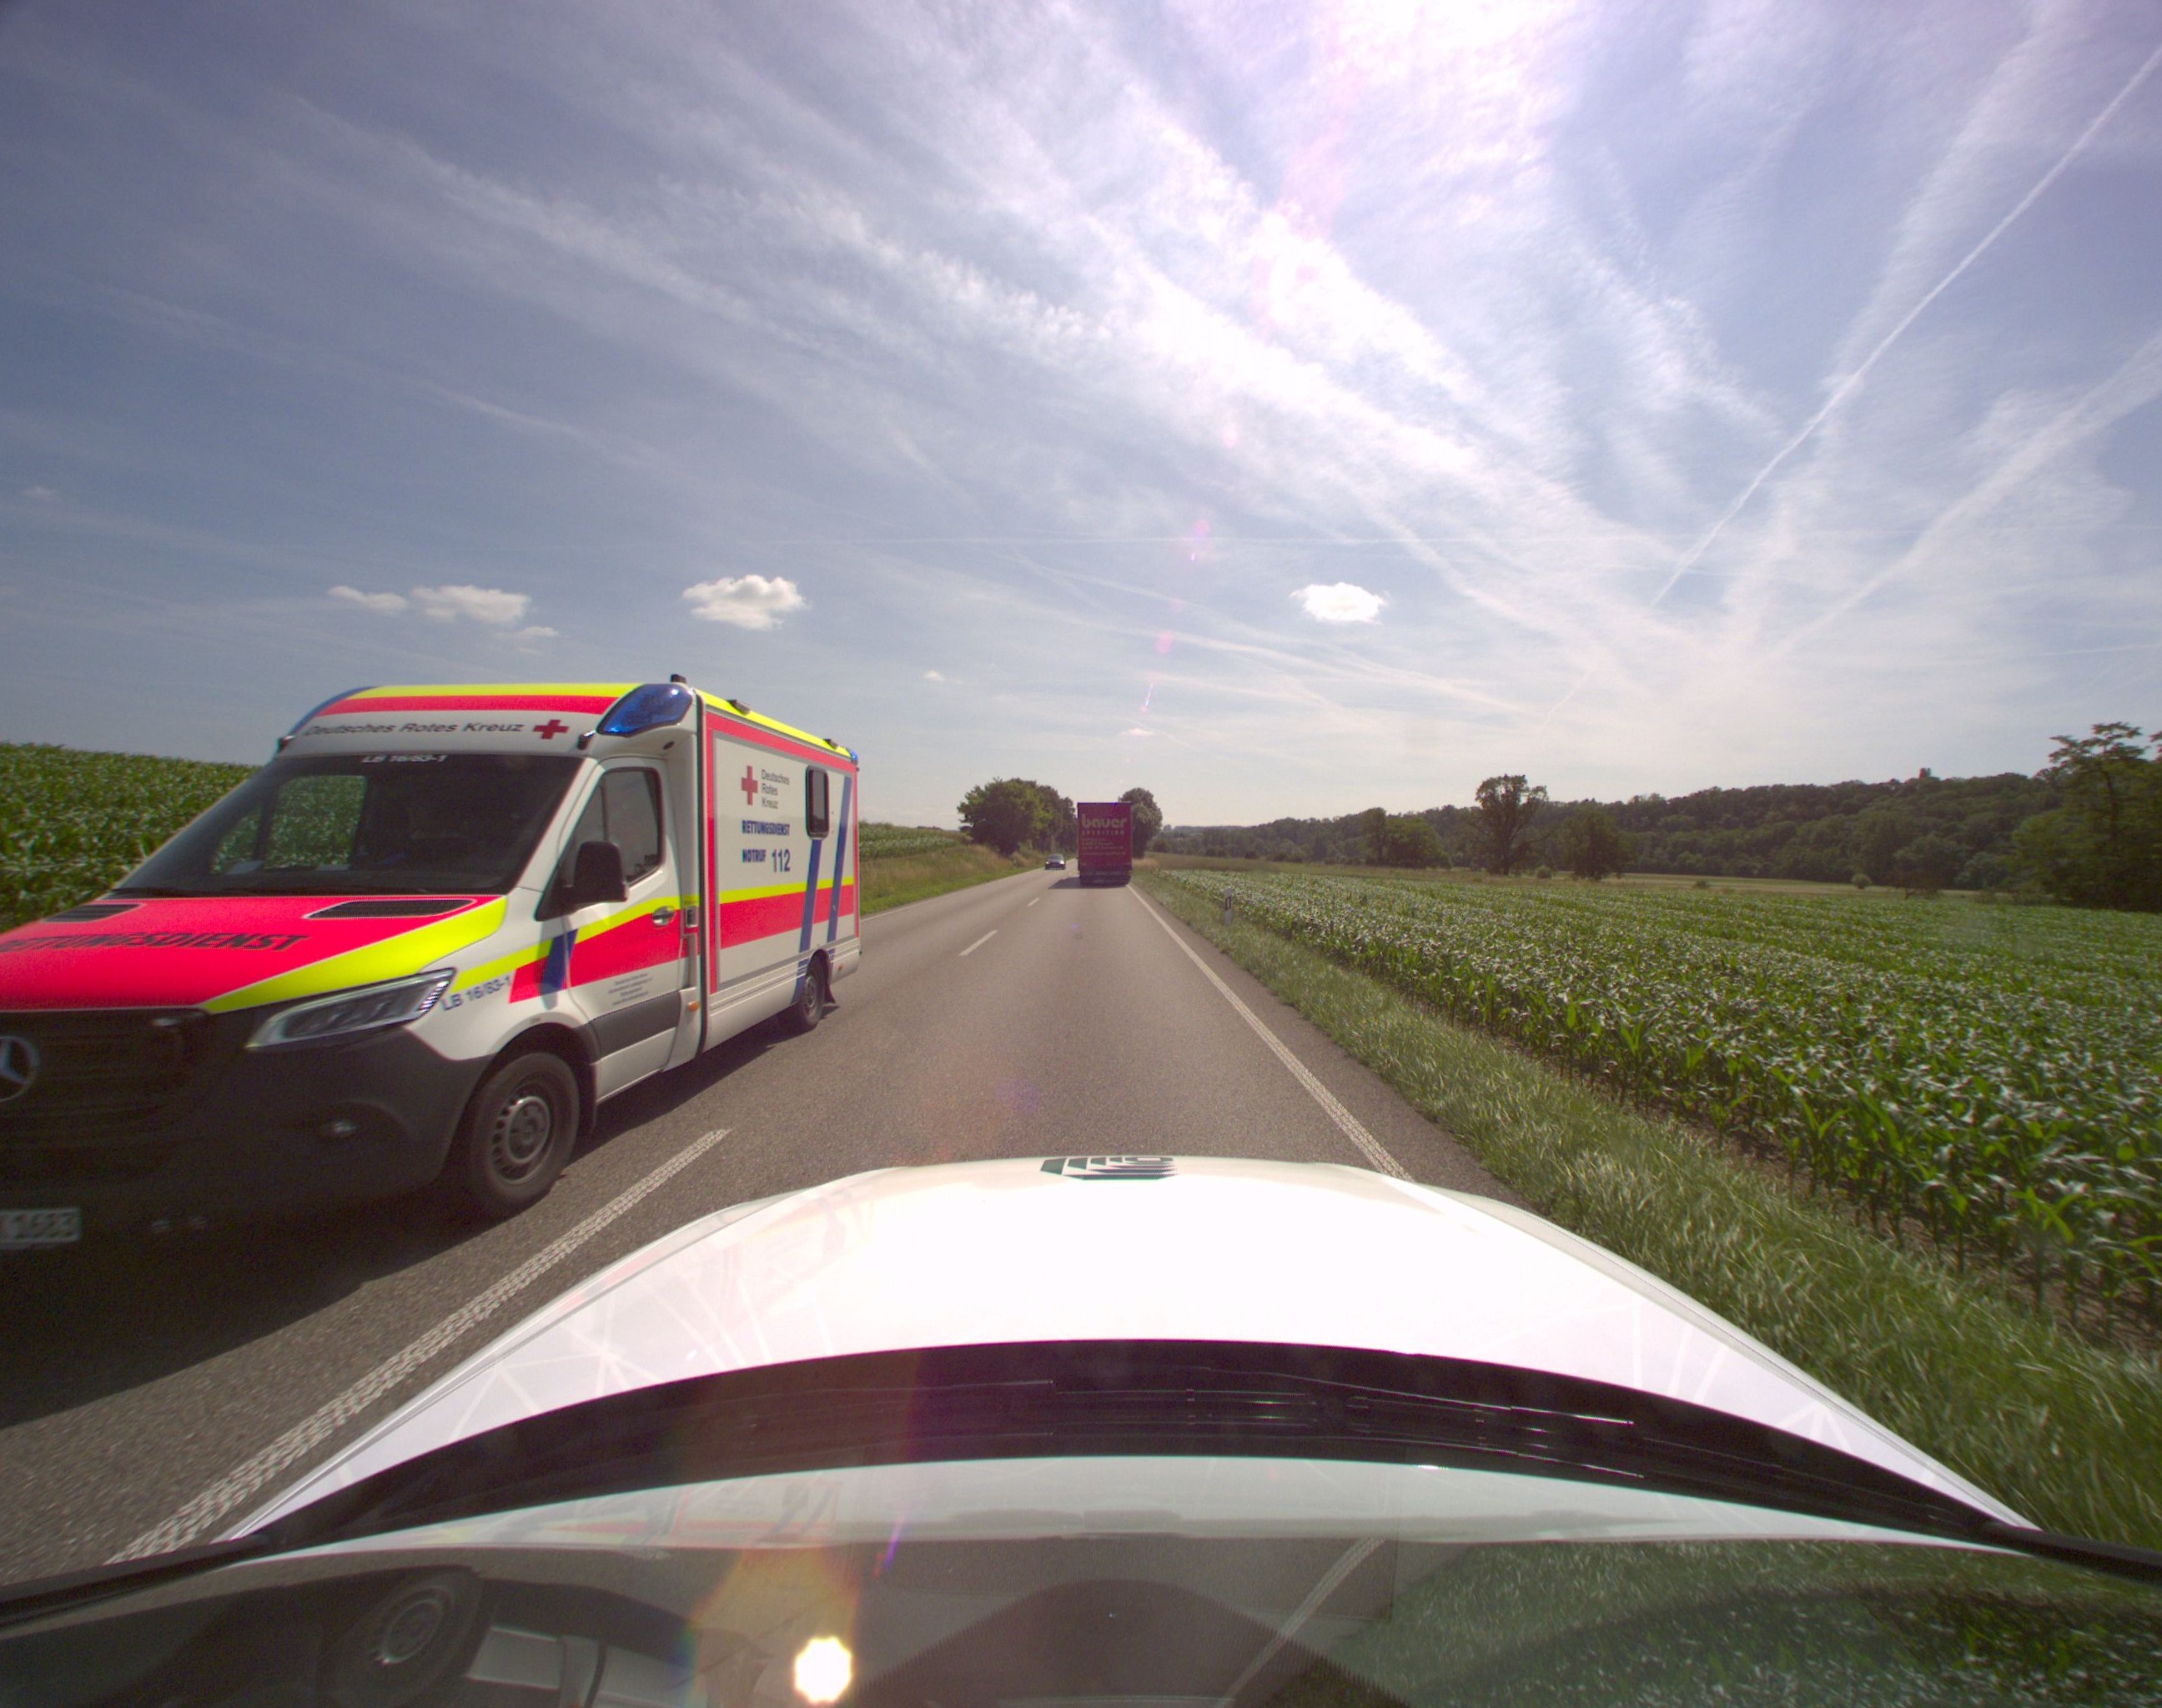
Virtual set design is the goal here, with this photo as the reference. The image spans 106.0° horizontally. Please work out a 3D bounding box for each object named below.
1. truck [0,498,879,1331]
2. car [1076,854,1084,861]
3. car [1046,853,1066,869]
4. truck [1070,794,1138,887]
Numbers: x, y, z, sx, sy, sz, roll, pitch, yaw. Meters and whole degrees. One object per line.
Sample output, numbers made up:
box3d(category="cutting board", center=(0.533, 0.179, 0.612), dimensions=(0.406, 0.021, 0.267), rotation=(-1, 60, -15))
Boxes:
box3d(category="truck", center=(-3.426, 0.217, 5.843), dimensions=(2.200, 2.672, 6.418), rotation=(-1, 0, 1))
box3d(category="car", center=(-0.168, 0.734, 180.547), dimensions=(1.650, 1.534, 4.359), rotation=(0, 0, 1))
box3d(category="car", center=(-2.383, 0.672, 78.727), dimensions=(1.667, 1.457, 4.351), rotation=(-1, 0, 1))
box3d(category="truck", center=(1.295, -0.578, 42.187), dimensions=(3.081, 4.263, 8.320), rotation=(-1, -1, 3))
